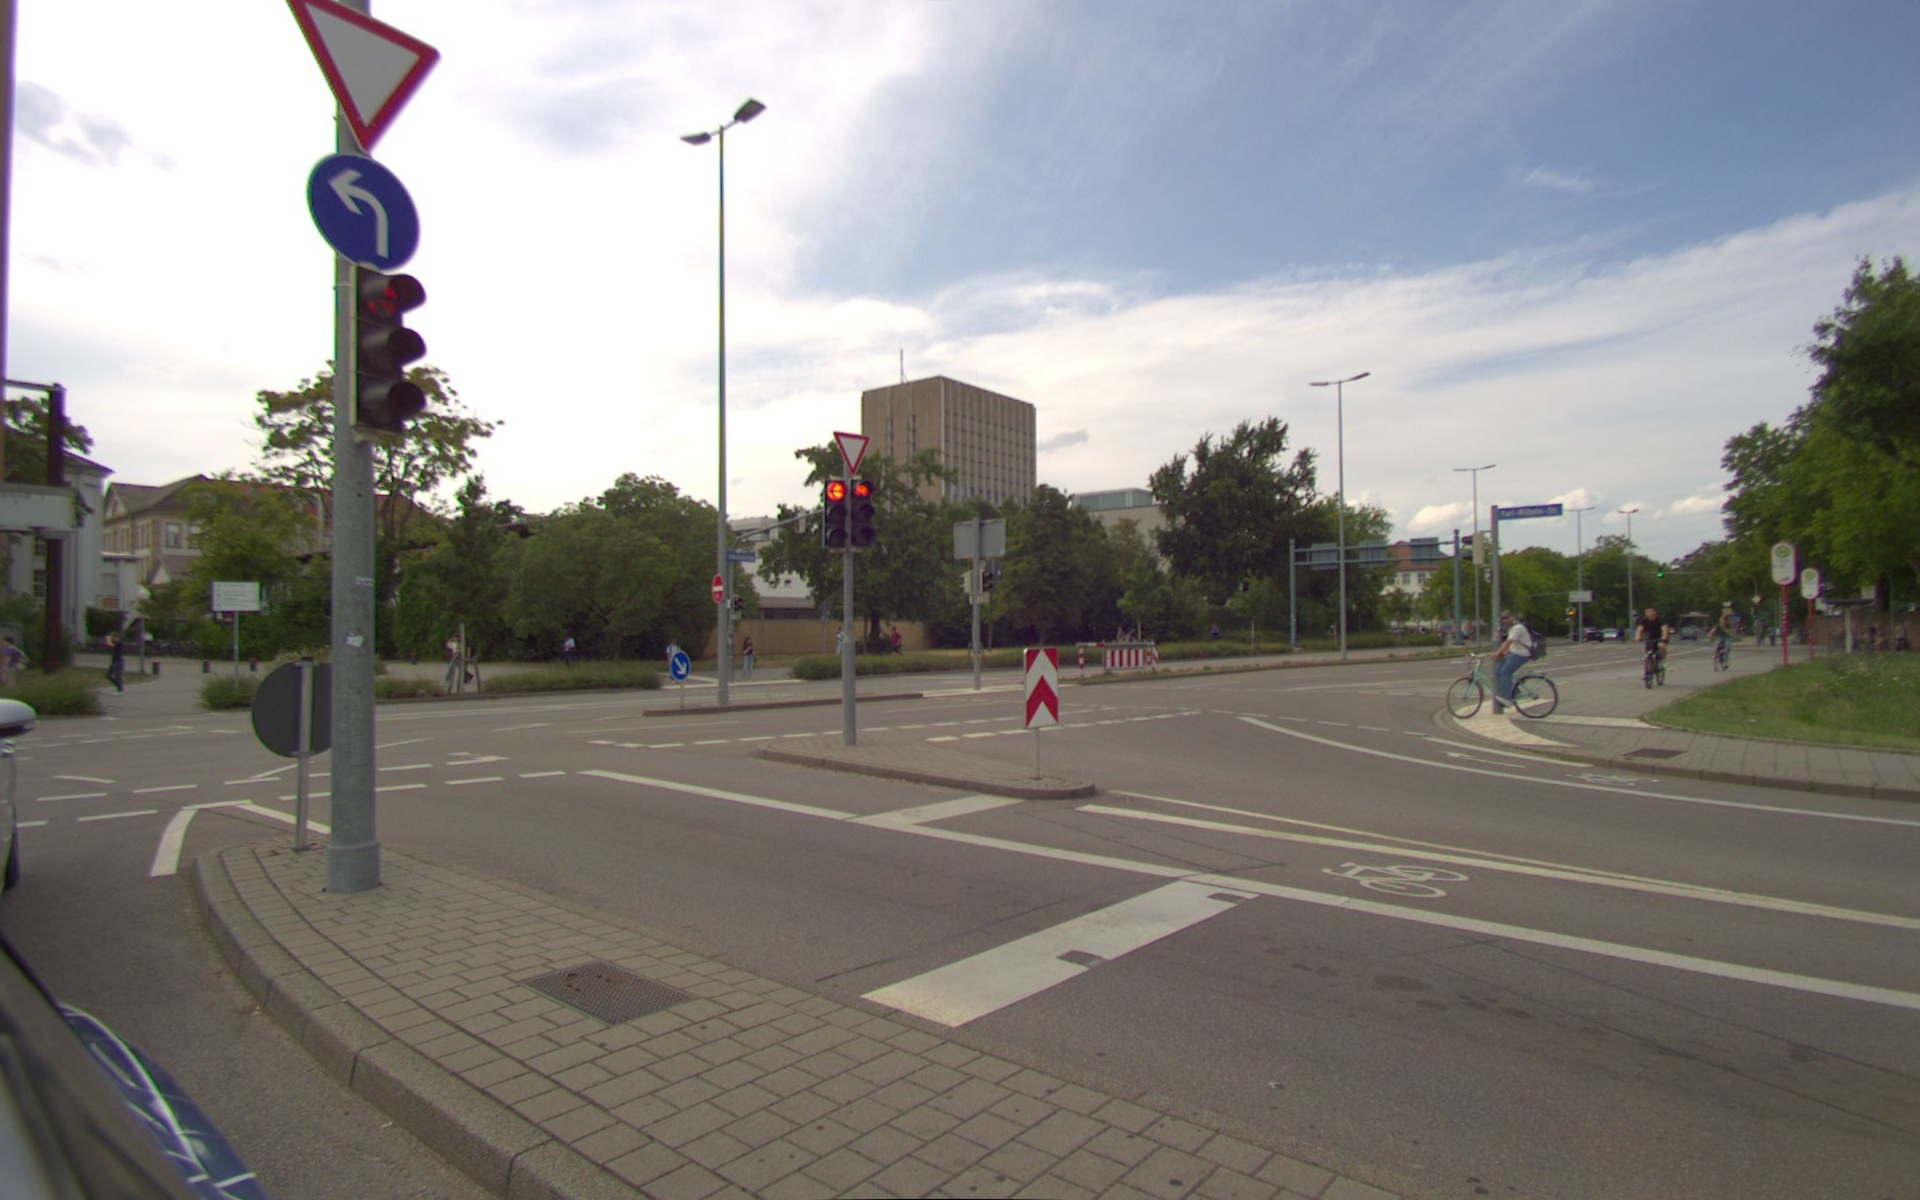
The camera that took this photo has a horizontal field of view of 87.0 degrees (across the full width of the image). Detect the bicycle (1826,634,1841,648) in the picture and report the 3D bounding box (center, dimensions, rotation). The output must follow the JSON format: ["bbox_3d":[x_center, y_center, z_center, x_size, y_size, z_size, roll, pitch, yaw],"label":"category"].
[{"bbox_3d":[59.972,2.831,69.479,0.432,0.894,1.559,-6,-5,31],"label":"bicycle"}]

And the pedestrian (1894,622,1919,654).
[{"bbox_3d":[49.112,1.958,52.402,0.749,1.634,0.661,-3,-3,19],"label":"pedestrian"}]

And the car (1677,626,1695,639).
[{"bbox_3d":[95.222,4.250,132.732,1.697,1.492,4.361,-5,-4,36],"label":"car"}]

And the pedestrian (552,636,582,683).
[{"bbox_3d":[-14.761,2.234,37.997,0.714,1.724,0.789,-5,-4,39],"label":"pedestrian"}]

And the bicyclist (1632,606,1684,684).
[{"bbox_3d":[14.482,0.920,21.002,0.784,1.567,0.581,-2,-1,-34],"label":"bicyclist"}]

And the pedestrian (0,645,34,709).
[{"bbox_3d":[-25.898,2.104,27.688,0.788,1.724,0.840,1,-4,-44],"label":"pedestrian"}]

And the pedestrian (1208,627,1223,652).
[{"bbox_3d":[18.455,2.852,73.051,0.714,1.724,0.685,-5,-4,42],"label":"pedestrian"}]

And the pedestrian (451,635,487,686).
[{"bbox_3d":[-16.967,2.086,34.979,0.835,1.724,0.792,-4,-3,27],"label":"pedestrian"}]

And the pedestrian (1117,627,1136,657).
[{"bbox_3d":[9.795,2.453,59.546,0.683,1.724,0.735,1,-4,-44],"label":"pedestrian"}]

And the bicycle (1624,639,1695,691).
[{"bbox_3d":[14.538,1.328,21.021,1.939,0.943,0.507,-2,-1,-34],"label":"bicycle"}]

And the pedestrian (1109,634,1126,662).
[{"bbox_3d":[9.918,3.006,63.883,0.714,1.724,0.685,-5,-4,42],"label":"pedestrian"}]

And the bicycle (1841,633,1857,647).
[{"bbox_3d":[58.243,2.647,66.328,0.432,0.894,1.559,-6,-5,31],"label":"bicycle"}]

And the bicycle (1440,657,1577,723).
[{"bbox_3d":[8.878,1.452,16.402,1.942,0.943,0.506,-2,-1,-4],"label":"bicycle"}]

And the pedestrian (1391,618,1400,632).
[{"bbox_3d":[53.299,3.086,123.807,0.769,1.724,0.685,-5,-4,42],"label":"pedestrian"}]

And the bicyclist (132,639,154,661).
[{"bbox_3d":[-49.142,2.990,60.883,0.996,1.287,0.841,0,-3,-38],"label":"bicyclist"}]

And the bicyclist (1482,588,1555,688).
[{"bbox_3d":[9.056,0.607,16.429,0.786,1.567,0.580,-2,-1,-4],"label":"bicyclist"}]

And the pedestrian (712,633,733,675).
[{"bbox_3d":[-9.947,2.258,42.396,0.544,1.709,0.686,0,-1,39],"label":"pedestrian"}]

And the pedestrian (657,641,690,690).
[{"bbox_3d":[-10.246,2.348,36.212,0.827,1.724,0.801,0,-4,-42],"label":"pedestrian"}]

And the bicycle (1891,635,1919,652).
[{"bbox_3d":[52.136,2.384,55.737,0.657,0.894,1.564,-5,-4,22],"label":"bicycle"}]

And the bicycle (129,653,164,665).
[{"bbox_3d":[-54.092,3.914,67.308,1.816,0.699,0.653,0,-4,-40],"label":"bicycle"}]

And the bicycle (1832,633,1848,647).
[{"bbox_3d":[59.015,2.694,67.871,0.432,0.894,1.559,-6,-5,31],"label":"bicycle"}]

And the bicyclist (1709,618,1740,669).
[{"bbox_3d":[24.169,1.370,31.996,0.784,1.567,0.496,-2,-1,-34],"label":"bicyclist"}]

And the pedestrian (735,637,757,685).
[{"bbox_3d":[-7.931,2.259,37.487,0.579,1.724,0.482,1,-4,-42],"label":"pedestrian"}]

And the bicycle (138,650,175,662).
[{"bbox_3d":[-51.778,3.608,65.223,1.816,0.699,0.653,0,-4,-40],"label":"bicycle"}]

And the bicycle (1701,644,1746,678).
[{"bbox_3d":[24.106,1.901,31.932,1.939,0.943,0.507,-2,-1,-34],"label":"bicycle"}]

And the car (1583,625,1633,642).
[{"bbox_3d":[62.902,3.259,98.299,1.761,1.501,4.139,1,0,-10],"label":"car"}]

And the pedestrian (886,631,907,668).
[{"bbox_3d":[-3.063,2.380,48.814,0.714,1.724,0.685,-5,-4,42],"label":"pedestrian"}]

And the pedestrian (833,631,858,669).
[{"bbox_3d":[-5.285,2.295,46.683,0.841,1.724,0.686,-5,-4,39],"label":"pedestrian"}]

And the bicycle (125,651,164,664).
[{"bbox_3d":[-49.080,3.479,60.905,1.815,0.699,0.845,0,-4,-38],"label":"bicycle"}]

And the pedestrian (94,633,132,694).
[{"bbox_3d":[-24.659,1.849,29.466,0.788,1.724,0.840,1,-4,-44],"label":"pedestrian"}]

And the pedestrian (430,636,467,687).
[{"bbox_3d":[-17.795,2.123,35.206,0.835,1.724,0.792,-4,-3,27],"label":"pedestrian"}]
